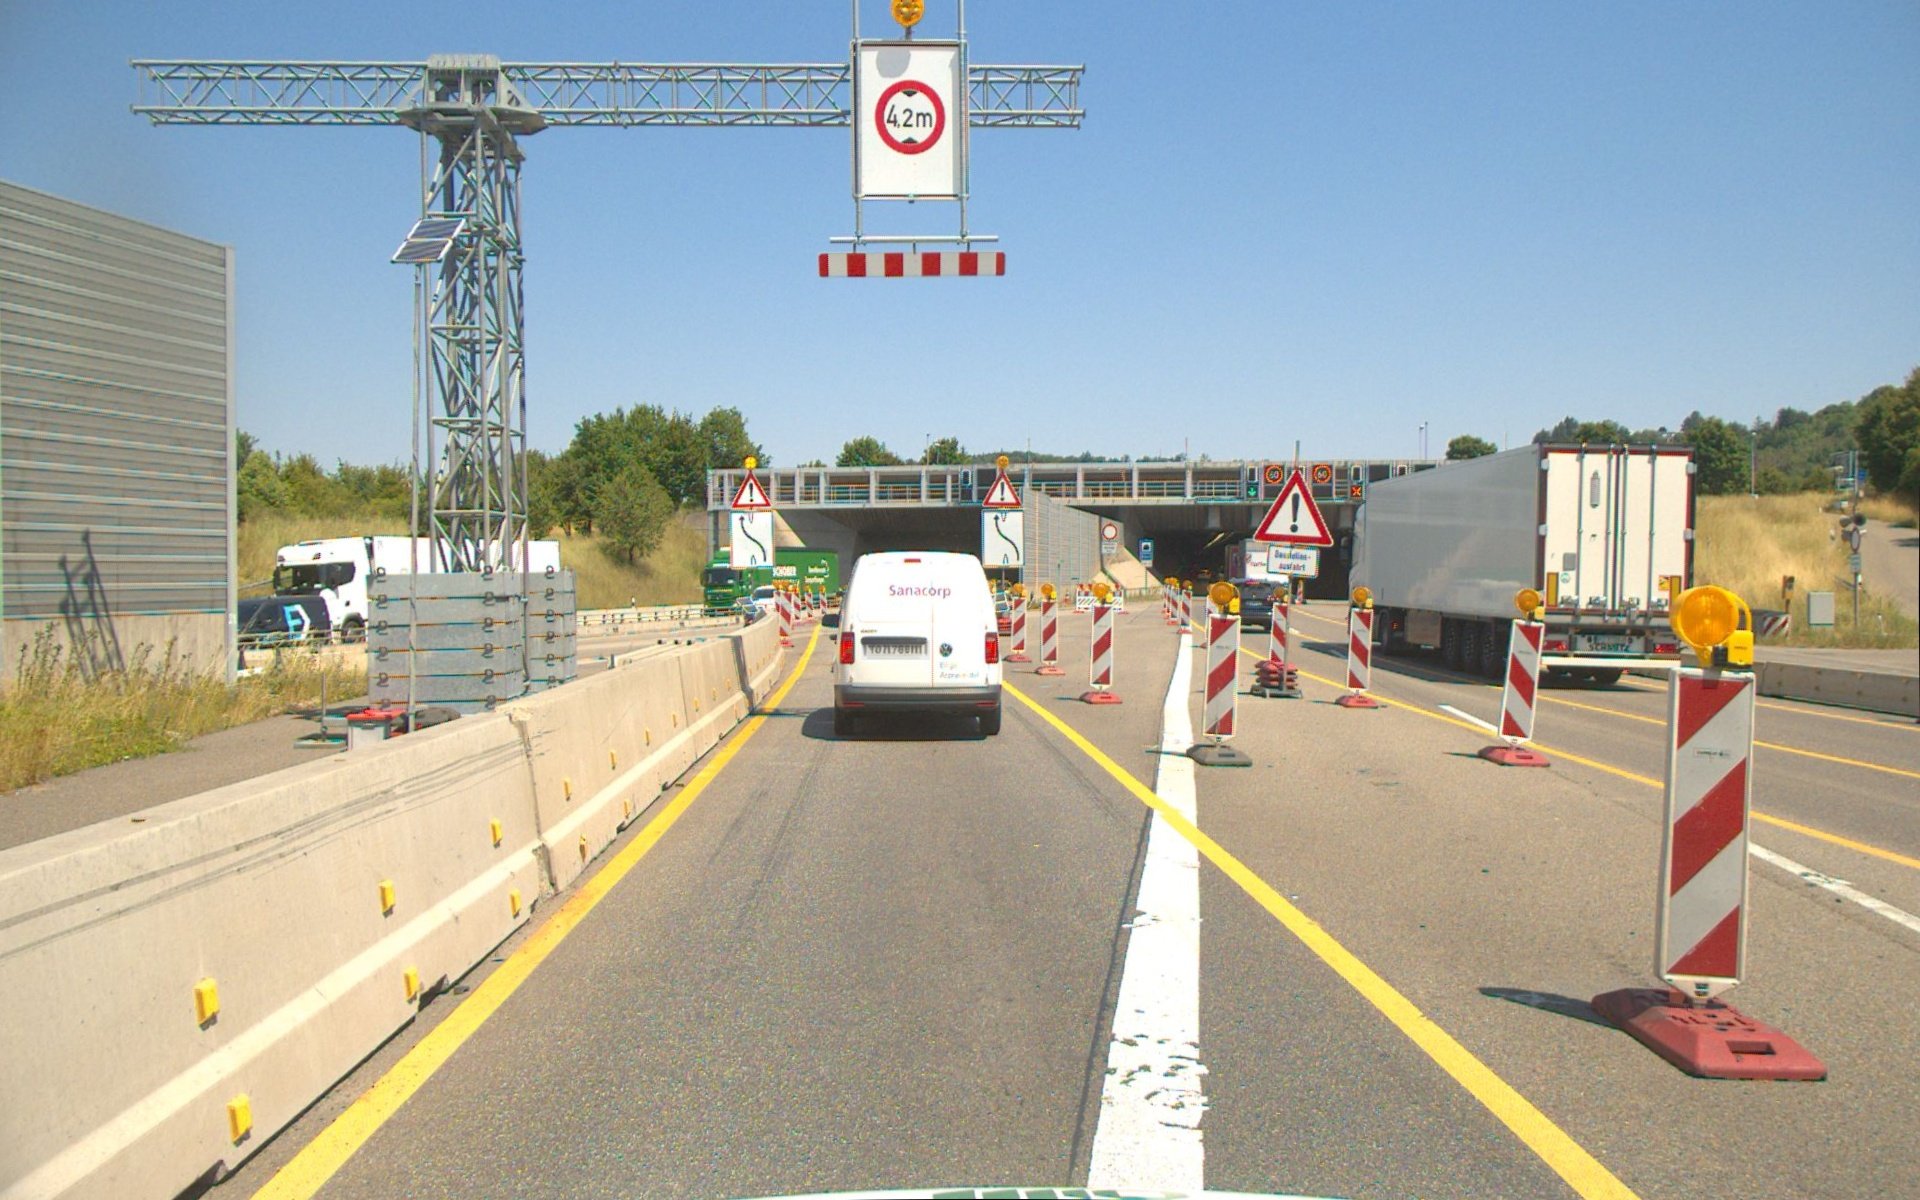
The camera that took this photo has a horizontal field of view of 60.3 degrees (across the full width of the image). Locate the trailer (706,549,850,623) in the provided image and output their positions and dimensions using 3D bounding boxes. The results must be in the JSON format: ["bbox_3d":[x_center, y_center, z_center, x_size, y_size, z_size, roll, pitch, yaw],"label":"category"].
[{"bbox_3d":[-11.203,-0.849,104.092,3.472,4.345,13.914,0,0,19],"label":"trailer"}]

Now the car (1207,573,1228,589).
[{"bbox_3d":[31.697,-2.373,203.860,2.282,1.870,4.547,1,0,6],"label":"car"}]

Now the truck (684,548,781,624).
[{"bbox_3d":[-13.379,-0.818,97.600,3.472,4.345,5.781,0,0,19],"label":"truck"}]

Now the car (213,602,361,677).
[{"bbox_3d":[-19.771,1.138,48.757,1.951,2.049,4.003,1,0,15],"label":"car"}]

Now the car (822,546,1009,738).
[{"bbox_3d":[-0.519,0.391,17.866,1.772,1.825,3.729,-1,0,-3],"label":"car"}]

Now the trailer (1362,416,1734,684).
[{"bbox_3d":[10.913,-0.820,32.917,2.676,4.133,14.098,1,0,2],"label":"trailer"}]

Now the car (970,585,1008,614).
[{"bbox_3d":[1.963,-0.066,110.982,1.912,1.846,4.413,-1,0,9],"label":"car"}]

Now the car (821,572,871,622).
[{"bbox_3d":[-4.403,-0.138,64.471,1.772,1.846,4.407,-1,0,-3],"label":"car"}]

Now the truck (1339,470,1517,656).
[{"bbox_3d":[11.106,-0.836,39.825,2.688,4.104,5.927,1,0,1],"label":"truck"}]

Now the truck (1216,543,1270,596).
[{"bbox_3d":[23.556,-2.420,138.574,3.329,4.142,16.548,1,0,6],"label":"truck"}]

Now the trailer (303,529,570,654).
[{"bbox_3d":[-21.026,-0.389,68.201,2.608,4.578,14.939,1,1,16],"label":"trailer"}]

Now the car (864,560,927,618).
[{"bbox_3d":[-3.194,-0.520,83.765,2.755,2.822,7.102,1,0,1],"label":"car"}]

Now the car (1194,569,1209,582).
[{"bbox_3d":[32.268,-3.271,220.808,1.776,1.658,4.193,1,0,6],"label":"car"}]

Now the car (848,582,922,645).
[{"bbox_3d":[-2.049,0.321,43.991,1.773,1.564,4.405,-1,0,-5],"label":"car"}]

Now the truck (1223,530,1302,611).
[{"bbox_3d":[18.019,-1.563,99.558,3.330,4.411,16.547,1,0,6],"label":"truck"}]

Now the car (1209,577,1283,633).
[{"bbox_3d":[8.974,0.154,52.174,1.777,1.658,4.192,1,0,3],"label":"car"}]

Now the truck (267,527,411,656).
[{"bbox_3d":[-22.989,-0.343,61.452,2.608,4.578,4.846,1,1,16],"label":"truck"}]
